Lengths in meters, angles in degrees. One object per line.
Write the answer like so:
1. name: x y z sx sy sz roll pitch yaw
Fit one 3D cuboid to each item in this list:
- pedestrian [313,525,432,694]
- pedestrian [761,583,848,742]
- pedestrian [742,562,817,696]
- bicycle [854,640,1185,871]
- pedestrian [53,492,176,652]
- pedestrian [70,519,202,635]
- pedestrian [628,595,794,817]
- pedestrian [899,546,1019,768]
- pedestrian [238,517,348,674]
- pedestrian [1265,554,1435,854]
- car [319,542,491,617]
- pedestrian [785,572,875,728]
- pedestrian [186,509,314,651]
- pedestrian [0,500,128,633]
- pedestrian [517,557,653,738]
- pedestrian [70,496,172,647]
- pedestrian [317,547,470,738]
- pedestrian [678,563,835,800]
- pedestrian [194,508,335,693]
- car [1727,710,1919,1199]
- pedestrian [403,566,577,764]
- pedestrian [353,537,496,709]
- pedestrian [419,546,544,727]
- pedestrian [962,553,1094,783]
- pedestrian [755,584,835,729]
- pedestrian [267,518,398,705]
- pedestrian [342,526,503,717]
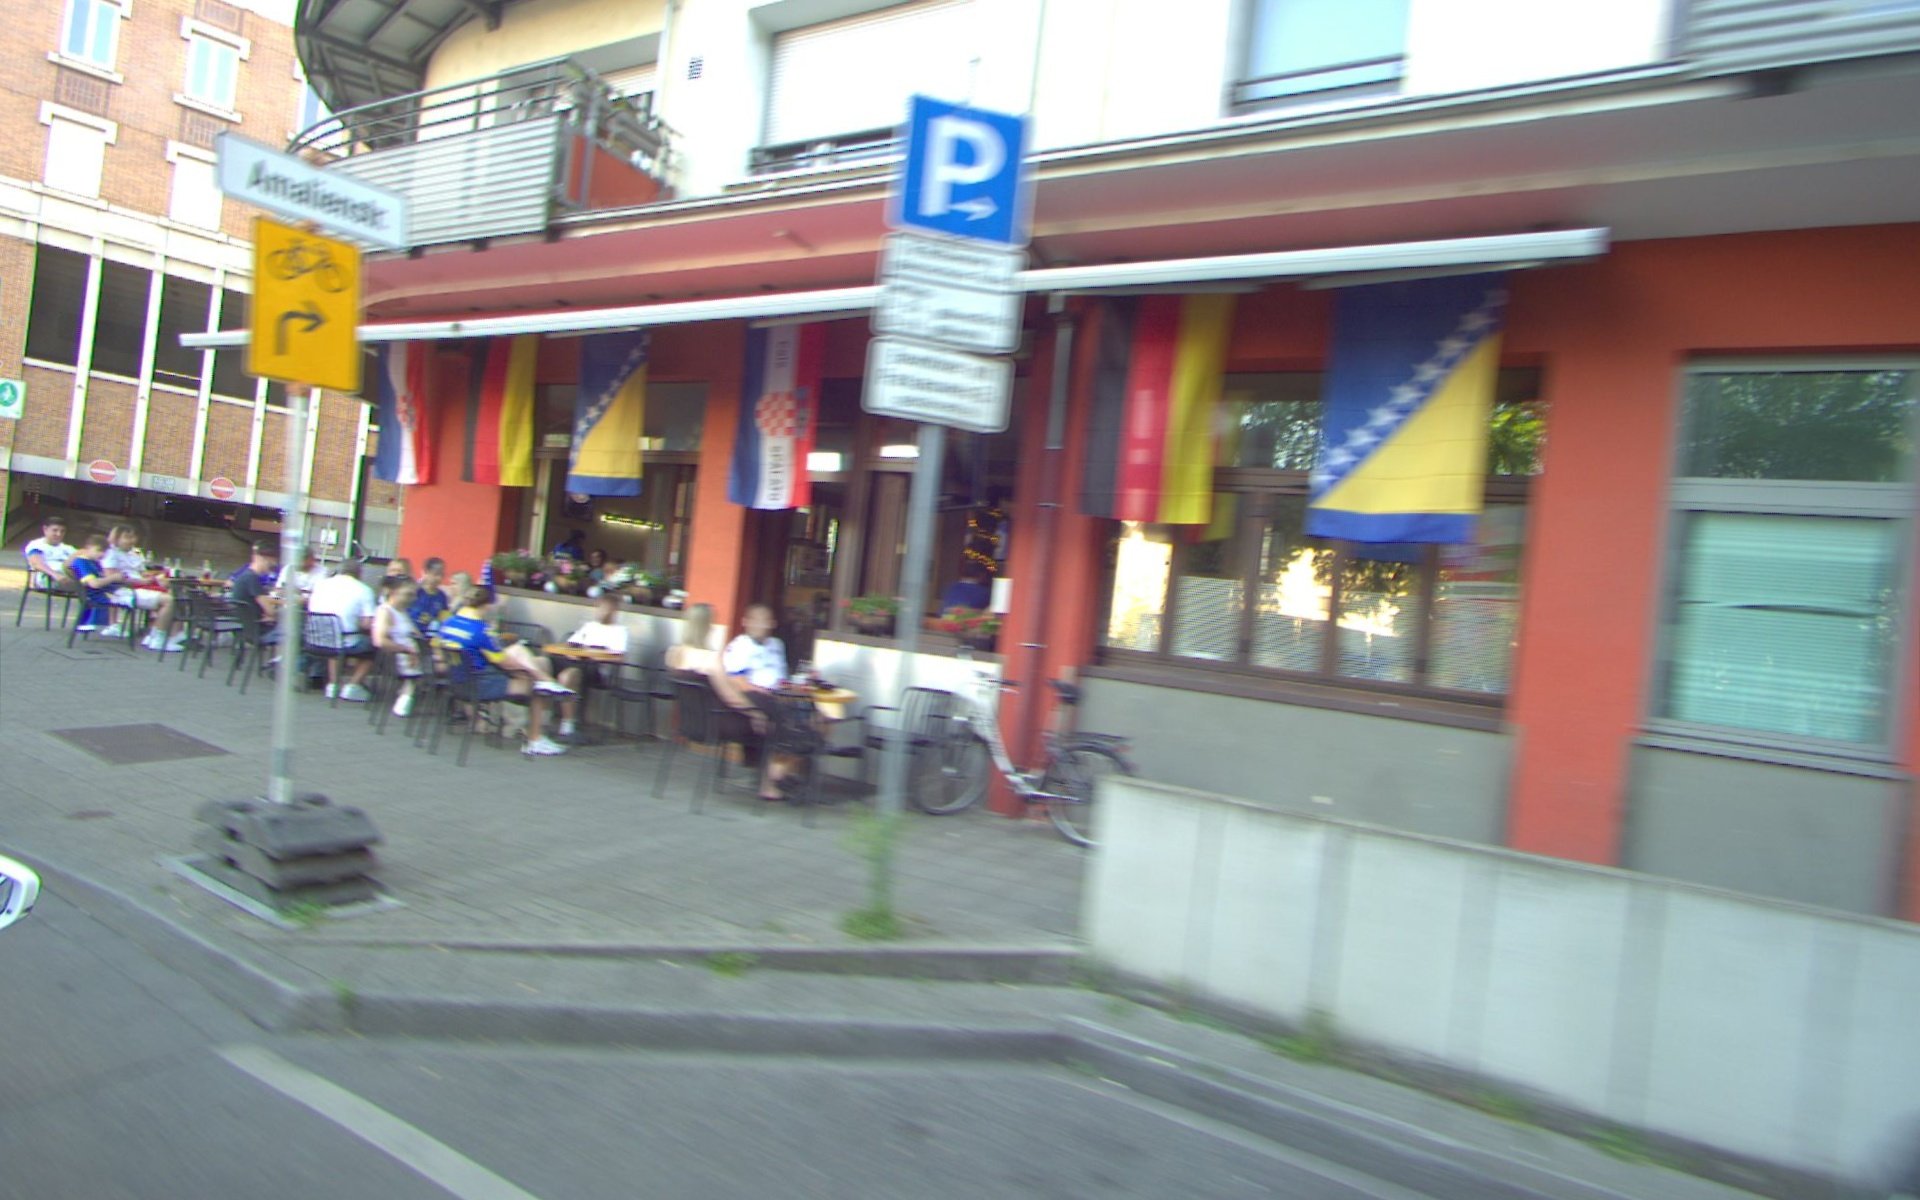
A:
1. pedestrian: -5.790 0.095 9.927 0.643 1.556 0.674 7 2 27
2. pedestrian: -1.860 0.745 12.092 0.606 1.798 0.612 7 -1 21
3. pedestrian: -2.540 0.420 14.181 0.607 1.798 0.612 7 -1 27
4. bicycle: 0.347 0.939 6.487 1.971 1.099 0.550 6 -2 29
5. pedestrian: -8.802 -0.289 10.474 0.839 1.557 0.712 7 4 31
6. pedestrian: -10.007 -0.260 12.247 0.949 1.297 0.686 5 -1 4
7. pedestrian: -1.585 0.653 6.526 0.701 1.293 0.853 4 0 7
8. pedestrian: 0.003 0.482 8.539 0.607 1.759 0.611 7 -1 28
9. pedestrian: -7.138 -0.043 10.805 0.744 1.553 0.644 8 -2 -28
10. pedestrian: 2.891 0.740 7.448 0.803 2.037 0.667 6 -1 40
11. car: -15.869 -0.563 28.831 3.967 1.538 1.980 9 -1 -37
12. pedestrian: -1.793 0.698 13.918 0.658 2.037 0.814 7 -1 29
13. pedestrian: -8.479 -0.219 12.054 0.838 1.553 0.714 8 -1 -6
14. pedestrian: -10.315 -0.365 11.508 0.823 1.399 0.771 6 0 3
15. pedestrian: -3.210 0.417 8.652 0.592 1.437 0.714 7 -2 28
16. pedestrian: -9.243 -0.309 11.081 0.710 1.554 0.681 6 0 -44
17. pedestrian: -4.441 0.321 7.900 0.736 1.362 0.654 7 2 27
18. pedestrian: -1.465 0.585 7.394 0.701 1.553 0.854 7 -1 7
19. pedestrian: -6.319 0.001 9.153 0.746 1.557 0.713 7 3 25
20. car: 3.708 1.221 0.870 4.554 1.569 1.878 6 -2 32
21. pedestrian: -3.468 0.465 7.416 0.872 1.322 0.843 5 0 -41
22. pedestrian: -5.150 0.233 9.691 0.769 1.522 0.769 7 0 27
23. pedestrian: -4.113 0.311 8.672 0.551 1.452 0.666 7 1 26
24. pedestrian: 0.573 0.549 8.265 0.657 1.741 0.718 7 -1 28
25. pedestrian: -2.154 0.740 13.194 0.606 1.798 0.612 7 -1 21
26. pedestrian: -5.577 0.093 8.945 0.688 1.548 0.649 7 3 25
27. pedestrian: -4.723 0.212 8.886 0.667 1.553 0.853 7 -2 26
